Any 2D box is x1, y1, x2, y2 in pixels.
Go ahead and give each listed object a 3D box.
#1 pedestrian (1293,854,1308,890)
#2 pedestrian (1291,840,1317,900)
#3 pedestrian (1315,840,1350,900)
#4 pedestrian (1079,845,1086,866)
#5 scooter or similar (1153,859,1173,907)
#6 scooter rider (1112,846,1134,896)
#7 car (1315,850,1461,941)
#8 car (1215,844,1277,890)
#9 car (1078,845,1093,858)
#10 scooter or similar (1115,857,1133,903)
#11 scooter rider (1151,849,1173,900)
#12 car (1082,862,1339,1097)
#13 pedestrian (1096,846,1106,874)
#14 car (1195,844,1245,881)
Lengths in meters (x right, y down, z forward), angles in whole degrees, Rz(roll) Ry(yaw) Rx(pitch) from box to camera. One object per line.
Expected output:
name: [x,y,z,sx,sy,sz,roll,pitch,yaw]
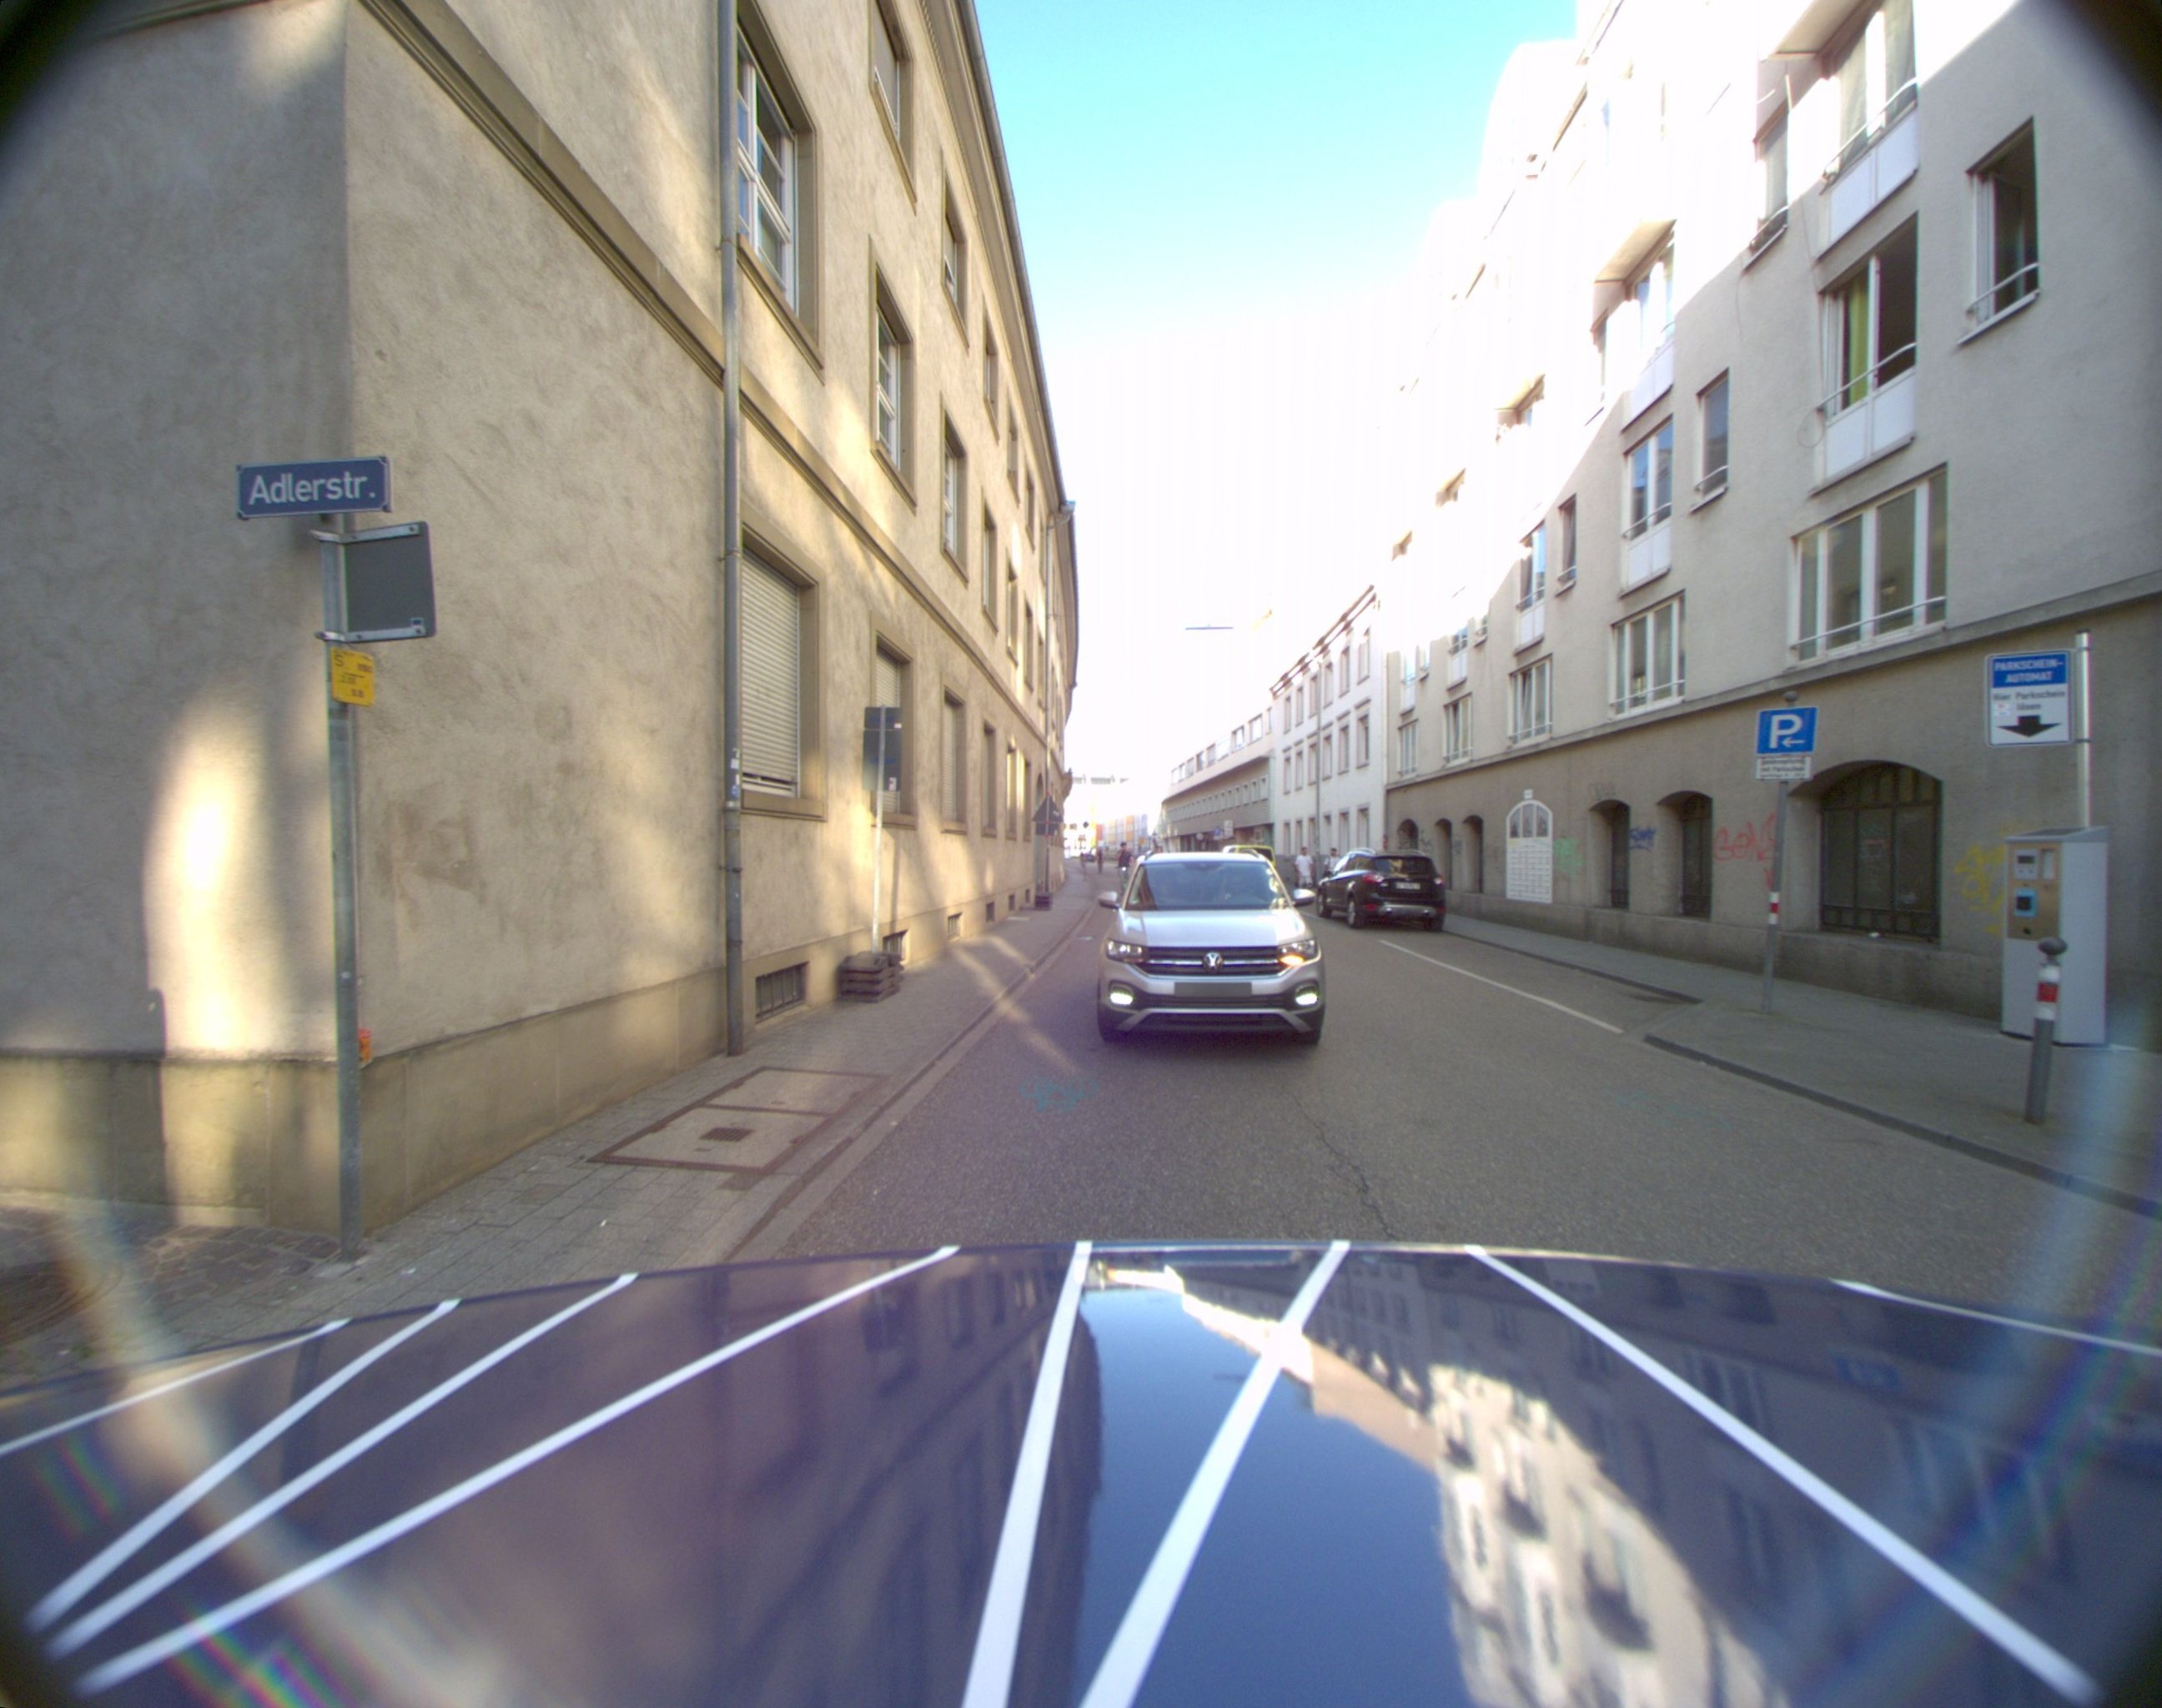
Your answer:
pedestrian: [9.052,0.726,31.314,0.556,1.439,0.583,0,1,14]
pedestrian: [7.529,0.542,25.678,0.715,2.002,0.699,0,1,3]
pedestrian: [8.530,0.528,25.792,0.936,2.002,0.699,0,1,3]
pedestrian: [0.142,0.132,72.173,0.715,2.002,0.699,0,1,3]
scooter or similar: [2.486,0.873,23.133,0.550,1.388,1.556,0,1,4]
scooter rider: [1.346,0.538,24.414,0.647,1.584,0.600,-2,1,4]
car: [6.635,0.797,16.912,1.887,1.694,4.001,2,1,5]
car: [7.167,0.503,33.340,1.888,1.863,3.999,-1,1,0]
car: [0.655,-0.396,113.491,1.888,1.863,3.999,2,1,-2]
scooter or similar: [1.379,0.812,24.228,0.523,1.388,1.556,0,1,4]
scooter rider: [2.487,0.620,23.345,0.591,1.499,0.600,-2,1,4]
car: [1.008,0.887,7.252,1.762,1.537,4.001,0,1,3]
pedestrian: [1.477,0.457,55.096,0.715,2.002,0.699,0,1,3]
car: [7.252,0.412,39.994,1.888,1.758,3.999,2,1,0]
